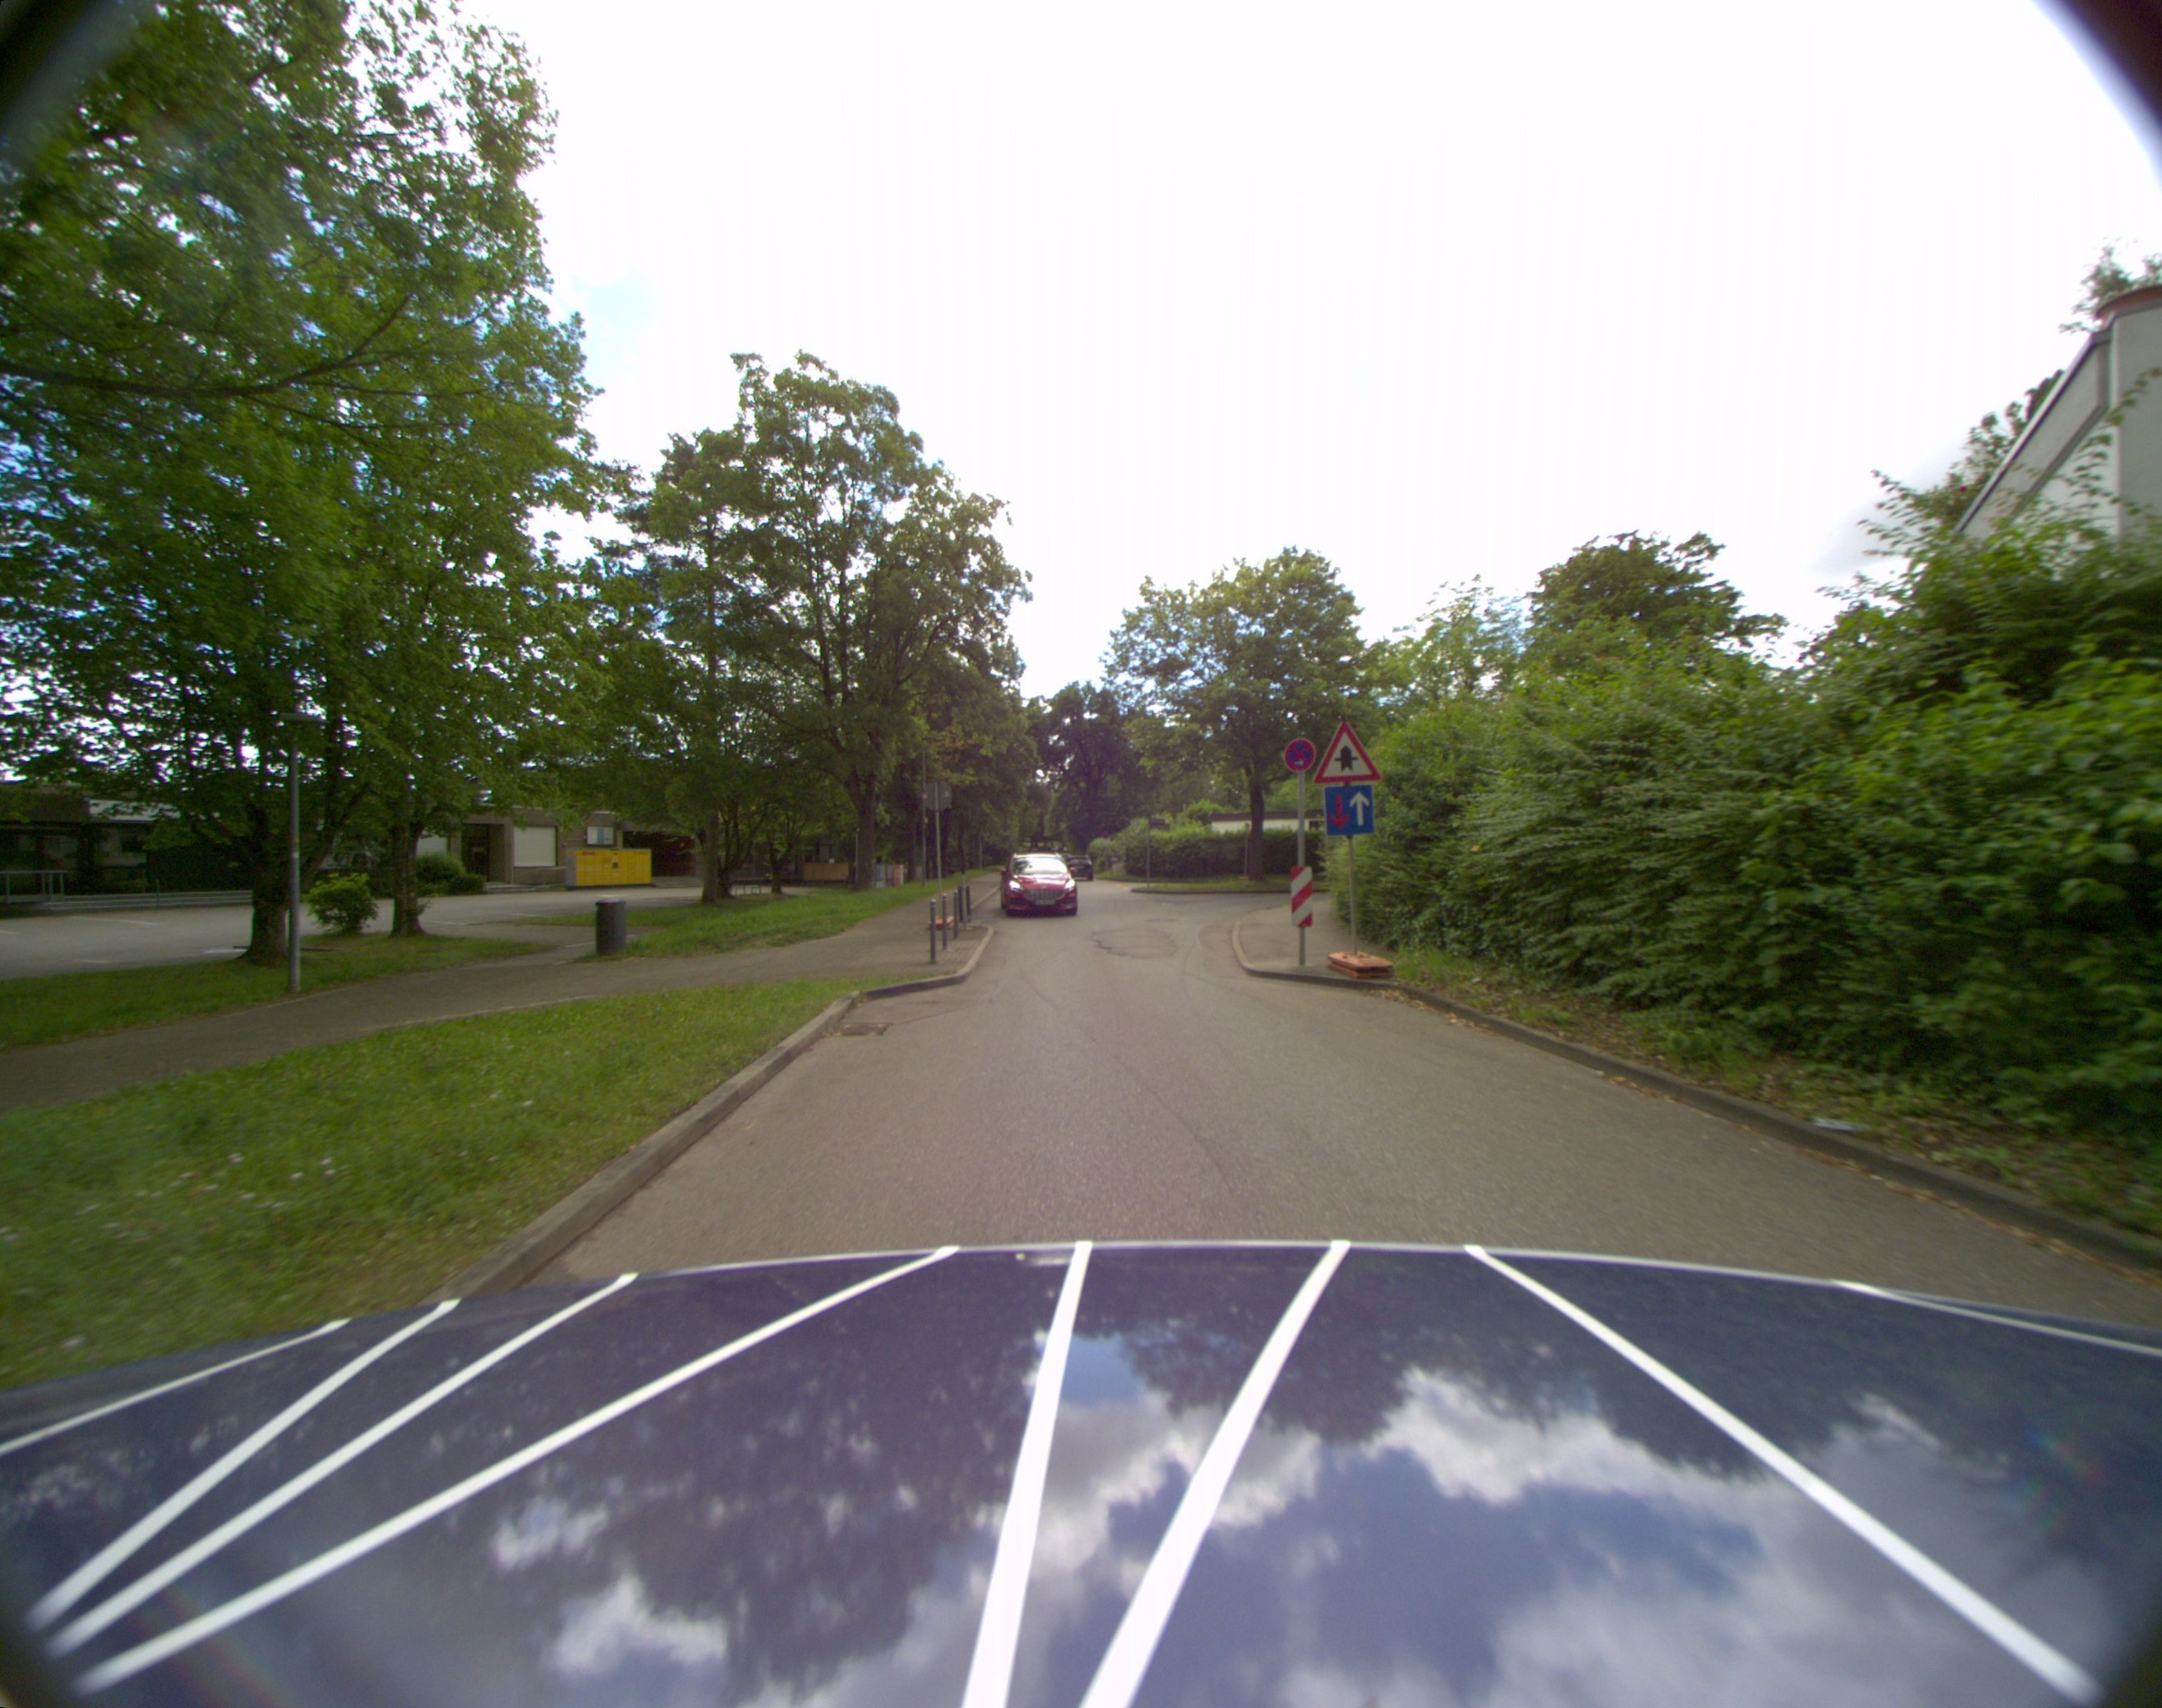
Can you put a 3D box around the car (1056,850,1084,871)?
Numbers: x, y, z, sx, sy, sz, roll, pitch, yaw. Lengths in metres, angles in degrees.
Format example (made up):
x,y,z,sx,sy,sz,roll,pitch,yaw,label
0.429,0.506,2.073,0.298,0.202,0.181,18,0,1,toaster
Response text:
x,y,z,sx,sy,sz,roll,pitch,yaw,label
-0.927,0.483,61.394,1.809,1.582,4.293,-1,0,-7,car

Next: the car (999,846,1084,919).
x,y,z,sx,sy,sz,roll,pitch,yaw,label
-1.188,0.703,20.893,1.818,1.718,3.995,2,2,-10,car

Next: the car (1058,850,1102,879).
x,y,z,sx,sy,sz,roll,pitch,yaw,label
-0.107,0.598,45.416,1.809,1.582,4.292,-1,0,-11,car

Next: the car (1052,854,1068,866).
x,y,z,sx,sy,sz,roll,pitch,yaw,label
-2.357,0.654,86.463,1.786,1.299,4.295,-1,0,-1,car
